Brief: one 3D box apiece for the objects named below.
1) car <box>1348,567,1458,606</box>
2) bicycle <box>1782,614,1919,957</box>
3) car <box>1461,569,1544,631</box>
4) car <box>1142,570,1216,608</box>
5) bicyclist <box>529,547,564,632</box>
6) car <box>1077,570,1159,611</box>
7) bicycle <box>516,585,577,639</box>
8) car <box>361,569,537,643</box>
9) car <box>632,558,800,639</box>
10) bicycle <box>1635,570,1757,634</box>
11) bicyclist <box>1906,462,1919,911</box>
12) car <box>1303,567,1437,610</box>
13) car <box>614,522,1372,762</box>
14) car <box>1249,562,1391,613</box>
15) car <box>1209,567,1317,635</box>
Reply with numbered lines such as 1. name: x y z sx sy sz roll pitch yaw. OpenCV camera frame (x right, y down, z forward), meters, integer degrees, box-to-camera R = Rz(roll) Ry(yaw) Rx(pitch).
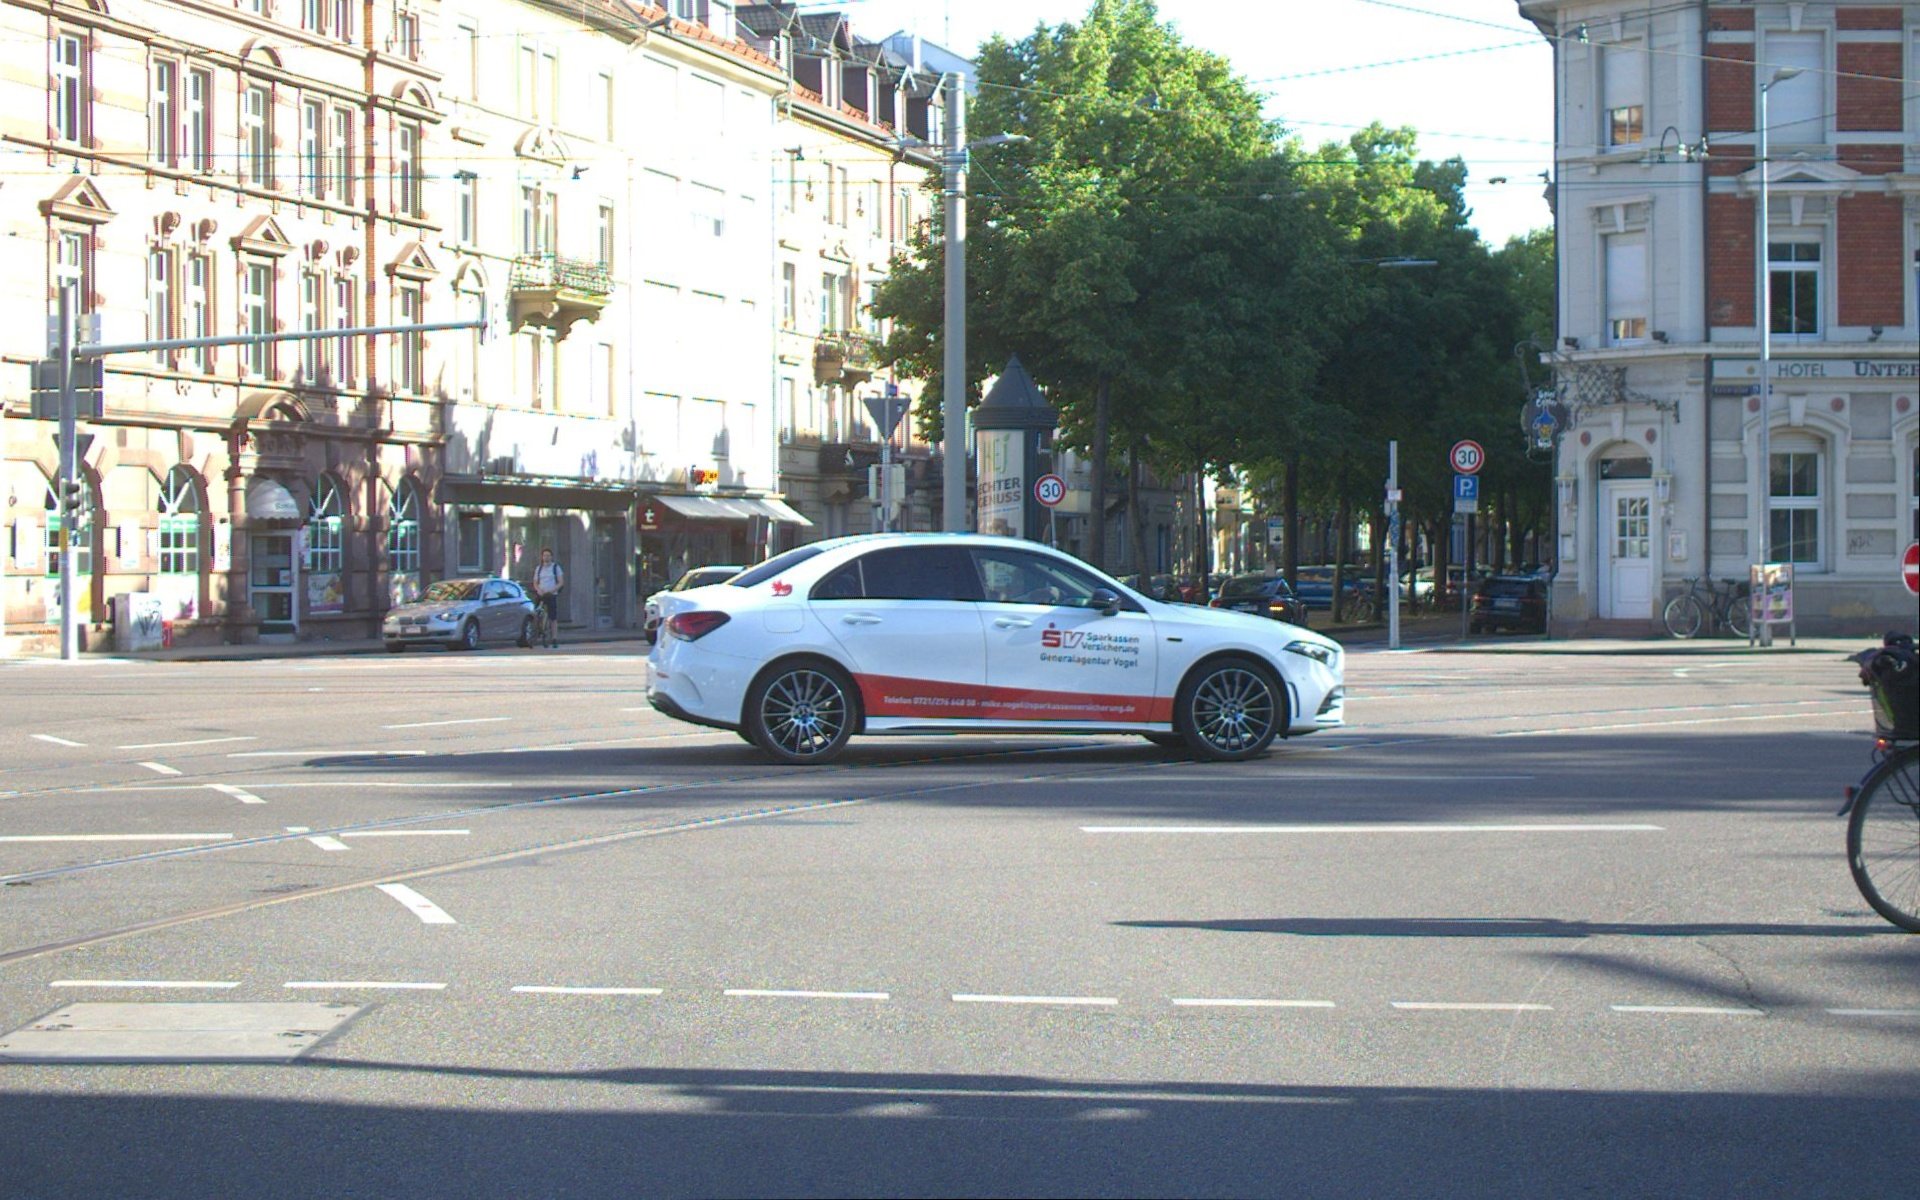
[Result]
1. car: 14.364 -0.435 111.465 3.435 1.235 1.576 0 1 11
2. bicycle: 4.136 0.666 12.862 1.922 1.219 0.743 0 1 -8
3. car: 13.047 -0.029 82.528 1.756 1.415 3.998 0 1 12
4. car: 8.408 -0.424 131.407 1.995 1.400 4.166 0 1 16
5. bicyclist: -7.842 -0.205 65.195 0.489 1.596 0.666 0 1 10
6. car: 5.654 -0.346 122.579 1.995 1.400 4.166 0 1 16
7. bicycle: -7.849 0.230 65.302 0.655 0.997 1.664 1 1 12
8. car: -9.929 0.099 67.045 1.995 1.357 3.816 0 1 16
9. car: -4.754 -0.056 67.471 1.995 1.511 4.166 0 1 16
10. bicycle: 12.267 0.024 57.342 1.953 1.050 0.715 0 1 10
11. bicyclist: 4.140 0.332 12.868 0.938 1.707 0.734 0 1 -7
12. car: 12.578 -0.353 105.393 3.989 1.284 1.694 0 1 11
13. car: 0.158 0.255 22.259 4.669 1.468 1.742 0 1 -9
14. car: 10.448 -0.367 99.684 3.989 1.450 1.681 0 1 11
15. car: 6.136 -0.004 69.216 1.718 1.296 4.071 0 1 12
